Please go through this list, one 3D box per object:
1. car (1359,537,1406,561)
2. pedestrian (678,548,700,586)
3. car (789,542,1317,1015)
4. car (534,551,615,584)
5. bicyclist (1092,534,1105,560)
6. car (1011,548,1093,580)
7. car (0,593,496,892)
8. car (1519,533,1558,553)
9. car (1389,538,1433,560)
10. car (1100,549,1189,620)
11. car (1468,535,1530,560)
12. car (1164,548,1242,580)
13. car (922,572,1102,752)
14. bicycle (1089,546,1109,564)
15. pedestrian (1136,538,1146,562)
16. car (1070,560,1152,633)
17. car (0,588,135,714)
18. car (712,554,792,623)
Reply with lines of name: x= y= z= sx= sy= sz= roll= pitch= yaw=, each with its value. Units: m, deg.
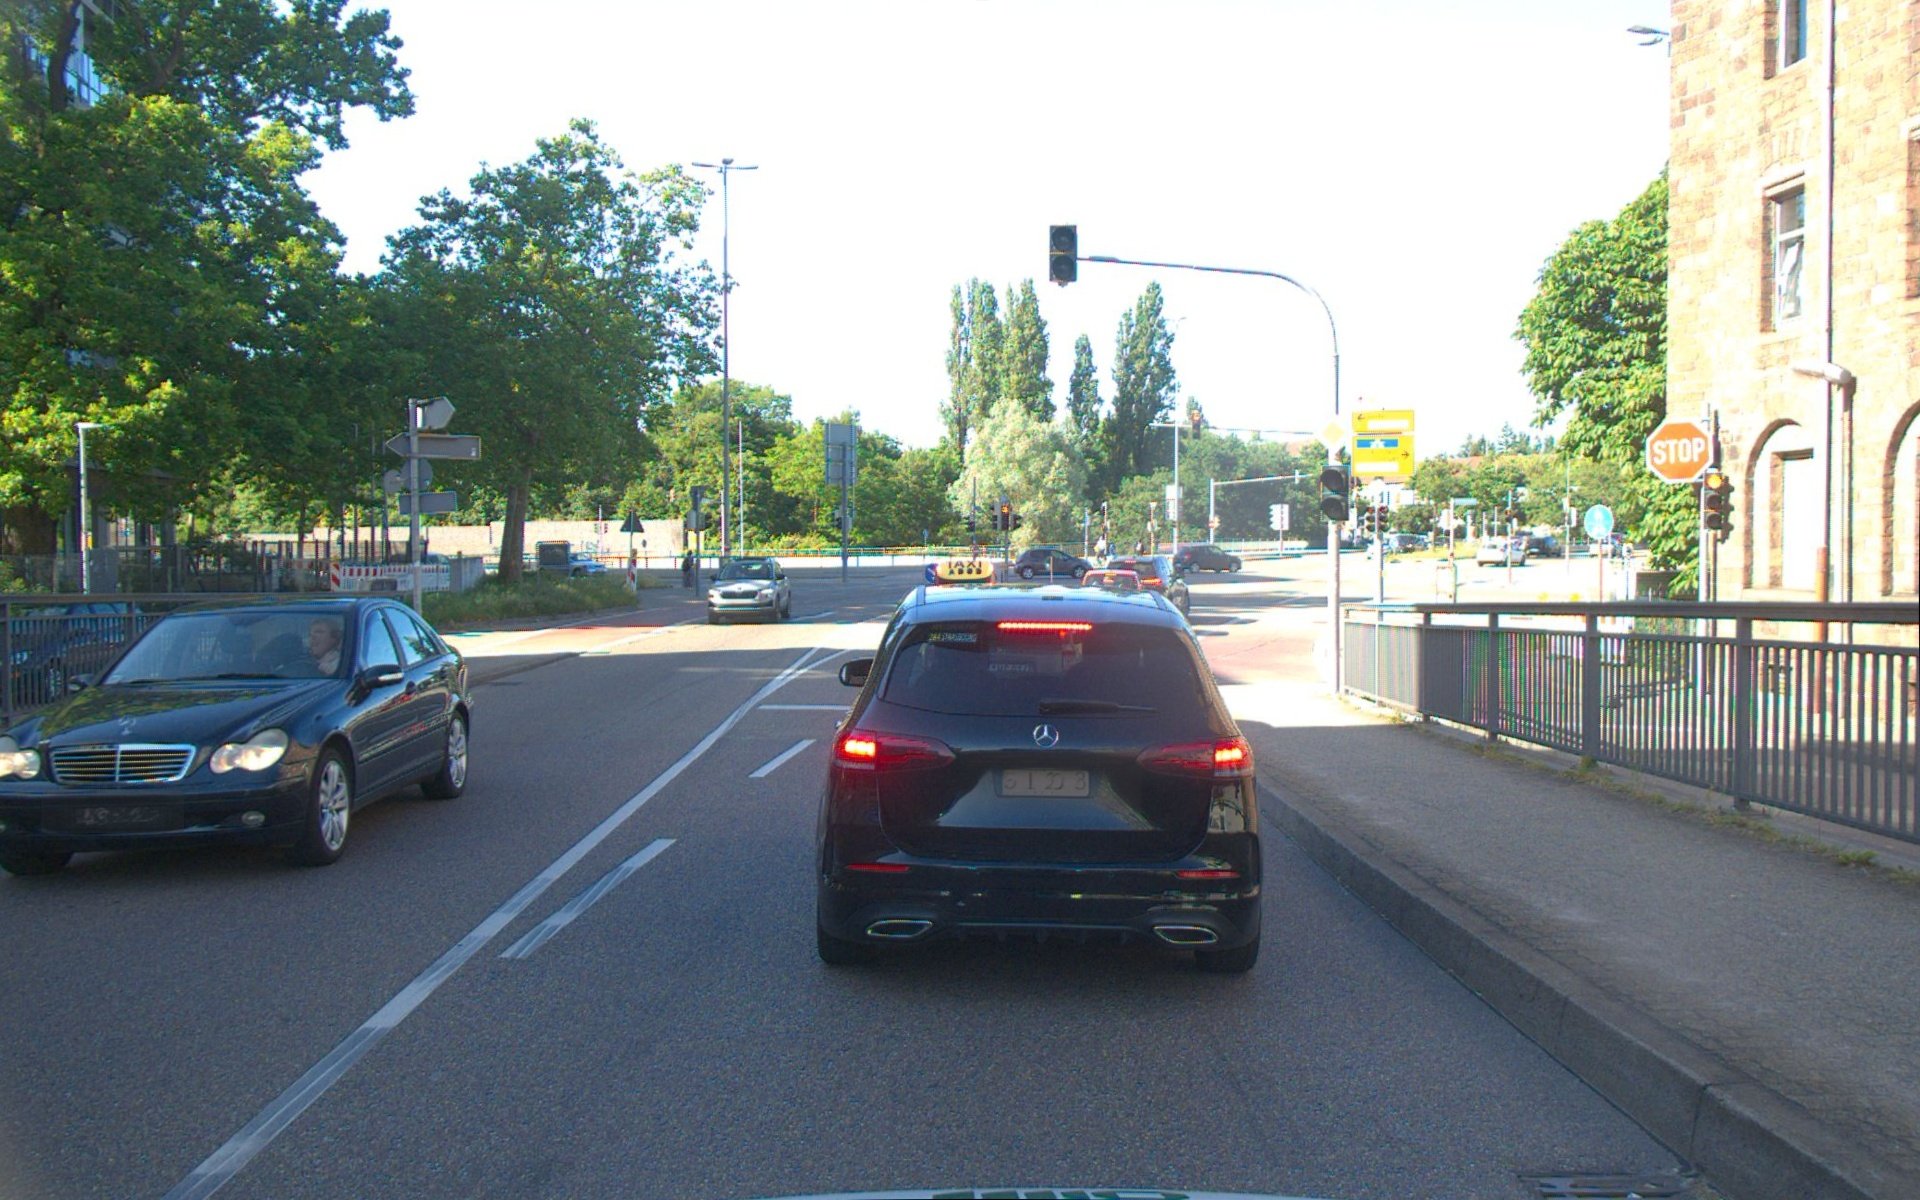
car: x=29.436 y=-3.533 z=115.166 sx=1.846 sy=1.605 sz=3.987 roll=1 pitch=2 yaw=35
pedestrian: x=-11.111 y=-1.358 z=67.839 sx=0.690 sy=1.552 sz=0.744 roll=1 pitch=1 yaw=10
car: x=0.303 y=0.606 z=7.833 sx=1.839 sy=1.641 sz=4.000 roll=1 pitch=1 yaw=-1
car: x=-20.180 y=-1.711 z=86.567 sx=3.911 sy=1.658 sz=1.888 roll=0 pitch=2 yaw=28
bicyclist: x=8.475 y=-3.240 z=100.903 sx=0.515 sy=1.578 sz=0.806 roll=-1 pitch=1 yaw=25
car: x=4.502 y=-1.762 z=80.976 sx=3.906 sy=1.524 sz=1.744 roll=0 pitch=0 yaw=-1
car: x=-4.247 y=0.693 z=10.253 sx=1.707 sy=1.432 sz=4.199 roll=-1 pitch=0 yaw=-3
car: x=41.853 y=-4.106 z=119.625 sx=1.845 sy=1.317 sz=4.586 roll=0 pitch=3 yaw=31
car: x=32.838 y=-3.720 z=120.375 sx=1.846 sy=1.605 sz=3.987 roll=1 pitch=2 yaw=35
car: x=5.085 y=-0.438 z=45.143 sx=1.685 sy=1.843 sz=4.300 roll=0 pitch=1 yaw=17
car: x=31.960 y=-3.121 z=97.965 sx=1.965 sy=1.389 sz=4.289 roll=1 pitch=4 yaw=42
car: x=13.039 y=-1.920 z=88.671 sx=3.952 sy=1.574 sz=1.868 roll=1 pitch=0 yaw=-34
car: x=0.515 y=0.536 z=16.723 sx=1.606 sy=1.556 sz=3.475 roll=-1 pitch=2 yaw=1
bicycle: x=8.476 y=-2.750 z=100.925 sx=0.515 sy=1.068 sz=1.989 roll=-1 pitch=2 yaw=25
pedestrian: x=12.228 y=-3.369 z=111.653 sx=0.443 sy=1.613 sz=0.499 roll=0 pitch=2 yaw=40
car: x=3.646 y=-0.125 z=39.507 sx=1.685 sy=1.548 sz=3.490 roll=0 pitch=3 yaw=10
car: x=-14.765 y=0.727 z=25.797 sx=1.814 sy=1.722 sz=4.000 roll=0 pitch=2 yaw=-1
car: x=-5.410 y=-0.344 z=43.465 sx=1.768 sy=1.651 sz=3.999 roll=0 pitch=2 yaw=-3
